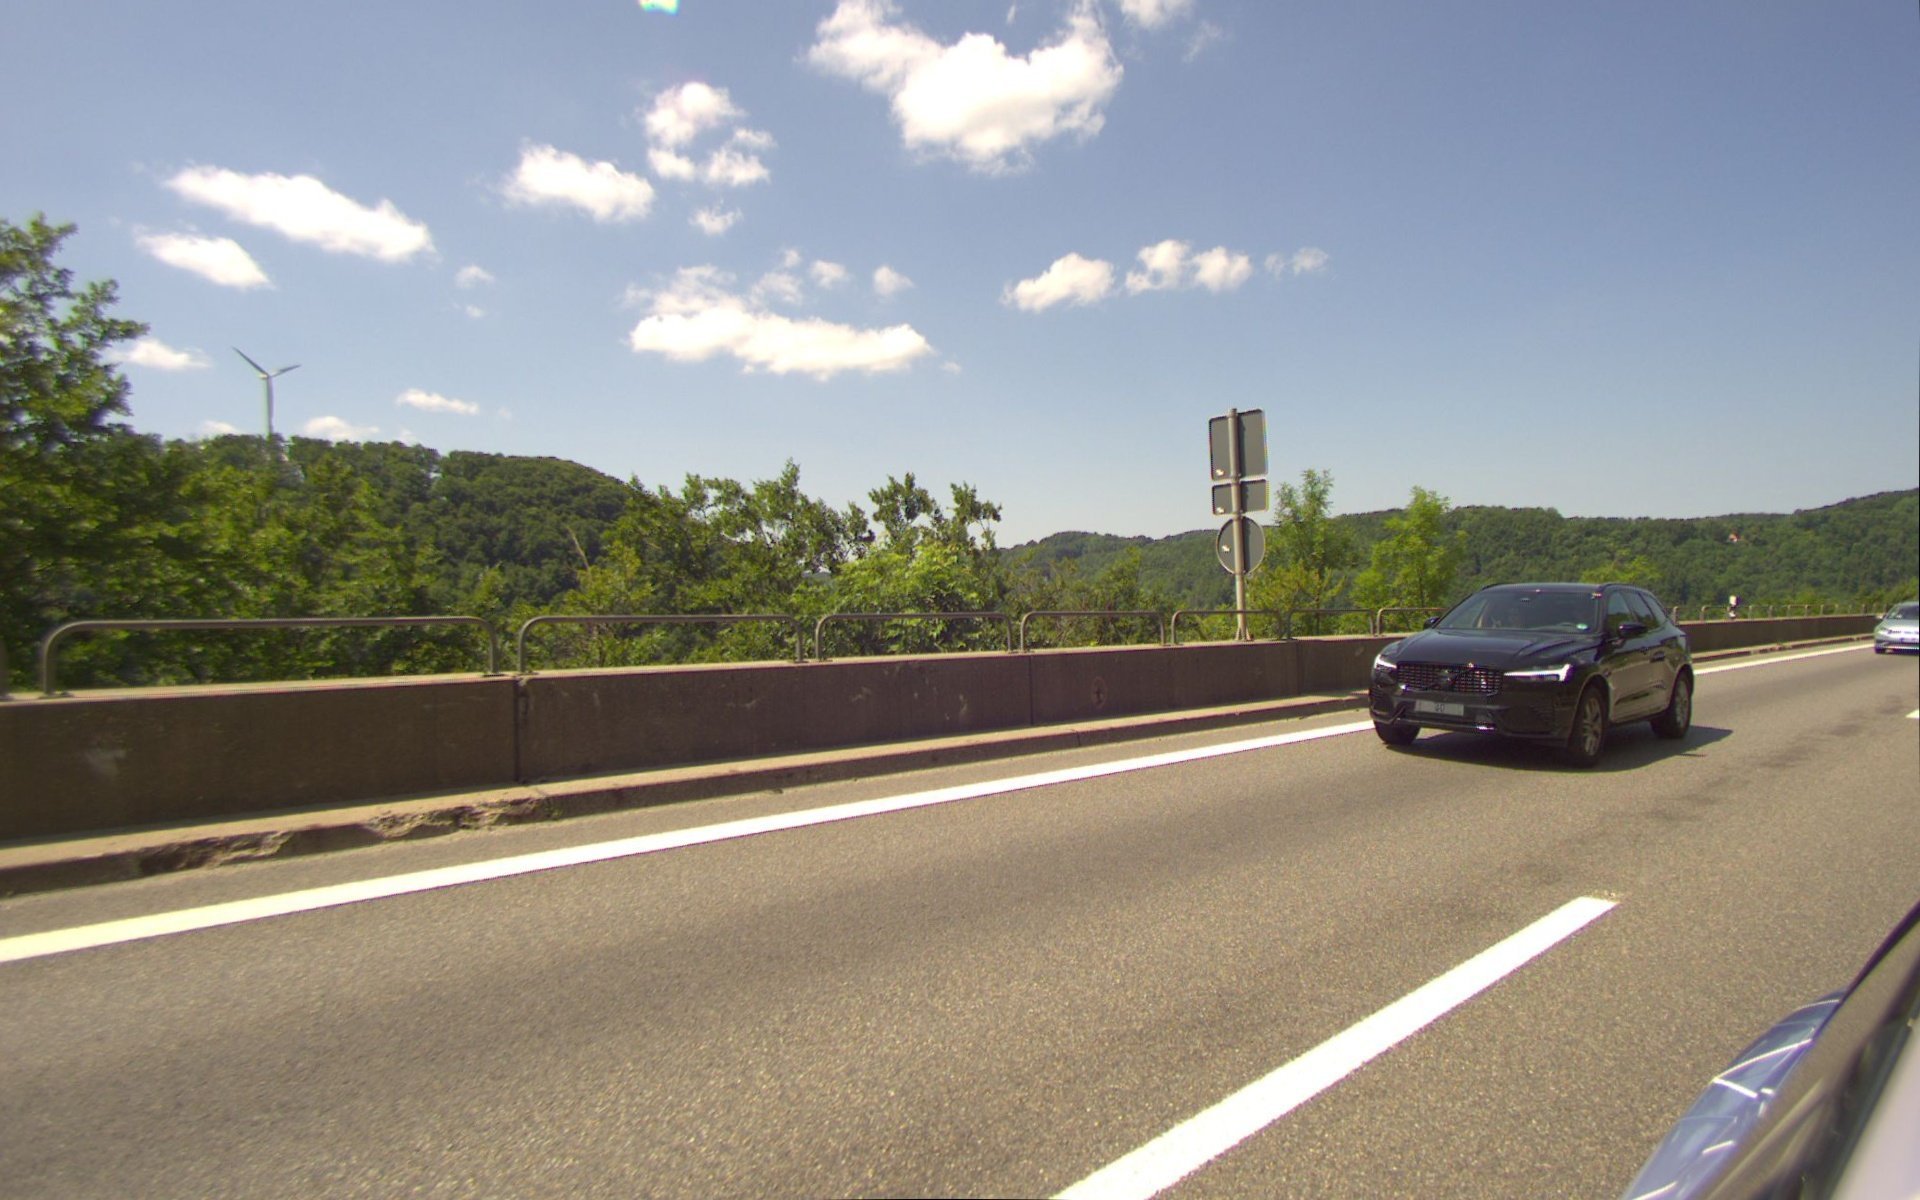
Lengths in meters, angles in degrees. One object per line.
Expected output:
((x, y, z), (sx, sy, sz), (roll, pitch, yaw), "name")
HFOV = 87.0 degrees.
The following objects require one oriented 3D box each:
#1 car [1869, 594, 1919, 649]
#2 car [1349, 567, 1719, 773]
((26.835, 0.554, 27.873), (4.215, 1.395, 1.972), (-1, 0, -38), "car")
((6.008, 0.533, 10.337), (4.580, 1.654, 1.838), (-1, 1, -40), "car")
